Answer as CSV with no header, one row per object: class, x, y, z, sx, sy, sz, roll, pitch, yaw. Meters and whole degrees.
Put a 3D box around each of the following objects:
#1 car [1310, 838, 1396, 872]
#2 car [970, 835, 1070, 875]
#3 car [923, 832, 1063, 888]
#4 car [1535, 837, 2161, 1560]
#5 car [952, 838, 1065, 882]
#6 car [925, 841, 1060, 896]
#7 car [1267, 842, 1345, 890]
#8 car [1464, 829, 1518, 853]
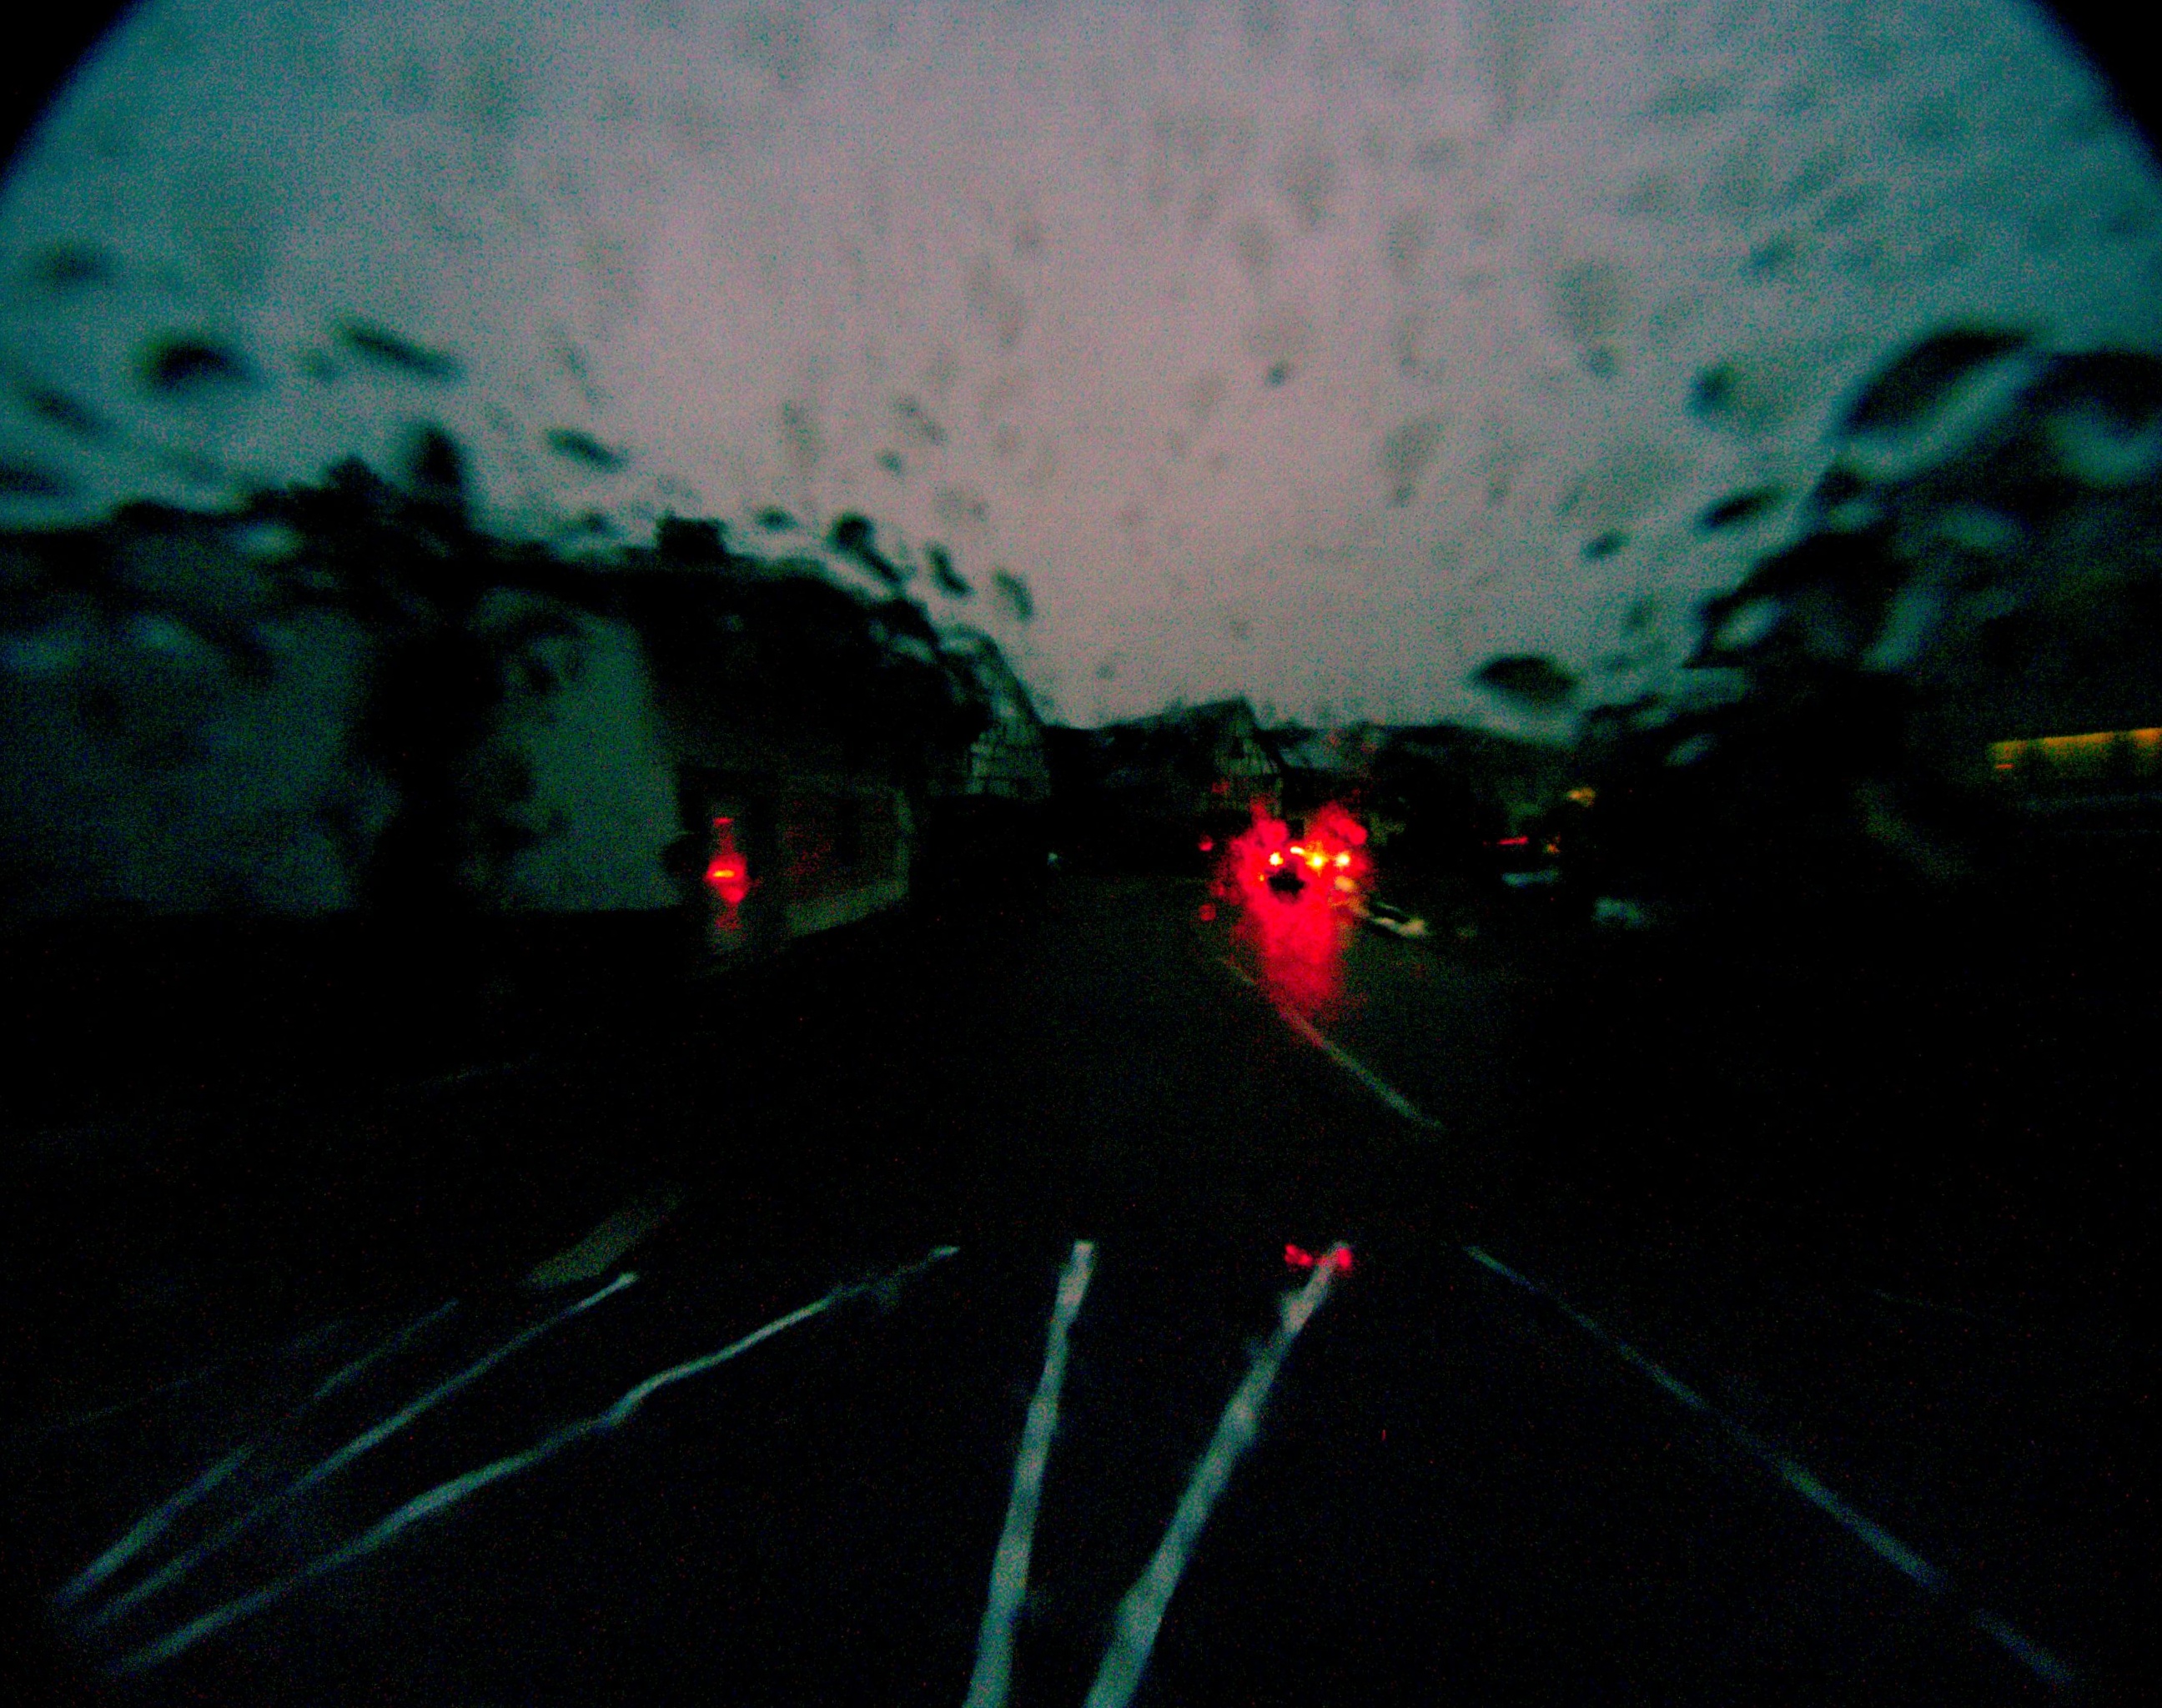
car,13.964,0.034,38.916,4.164,1.569,1.995,-2,1,-33
car,-2.662,0.041,33.075,3.990,1.507,1.593,2,3,-24
car,-3.098,0.218,26.519,4.481,1.652,1.851,3,3,-18
car,3.448,0.788,2.140,1.917,1.643,4.000,-2,0,0
car,-2.840,0.231,29.479,4.041,1.413,1.811,3,3,-17
car,-2.818,0.436,23.908,3.897,1.442,1.885,3,3,-17
car,8.474,0.375,28.302,1.878,1.603,4.610,0,2,28
car,29.459,-0.973,54.705,1.649,1.498,3.486,-1,5,-6
